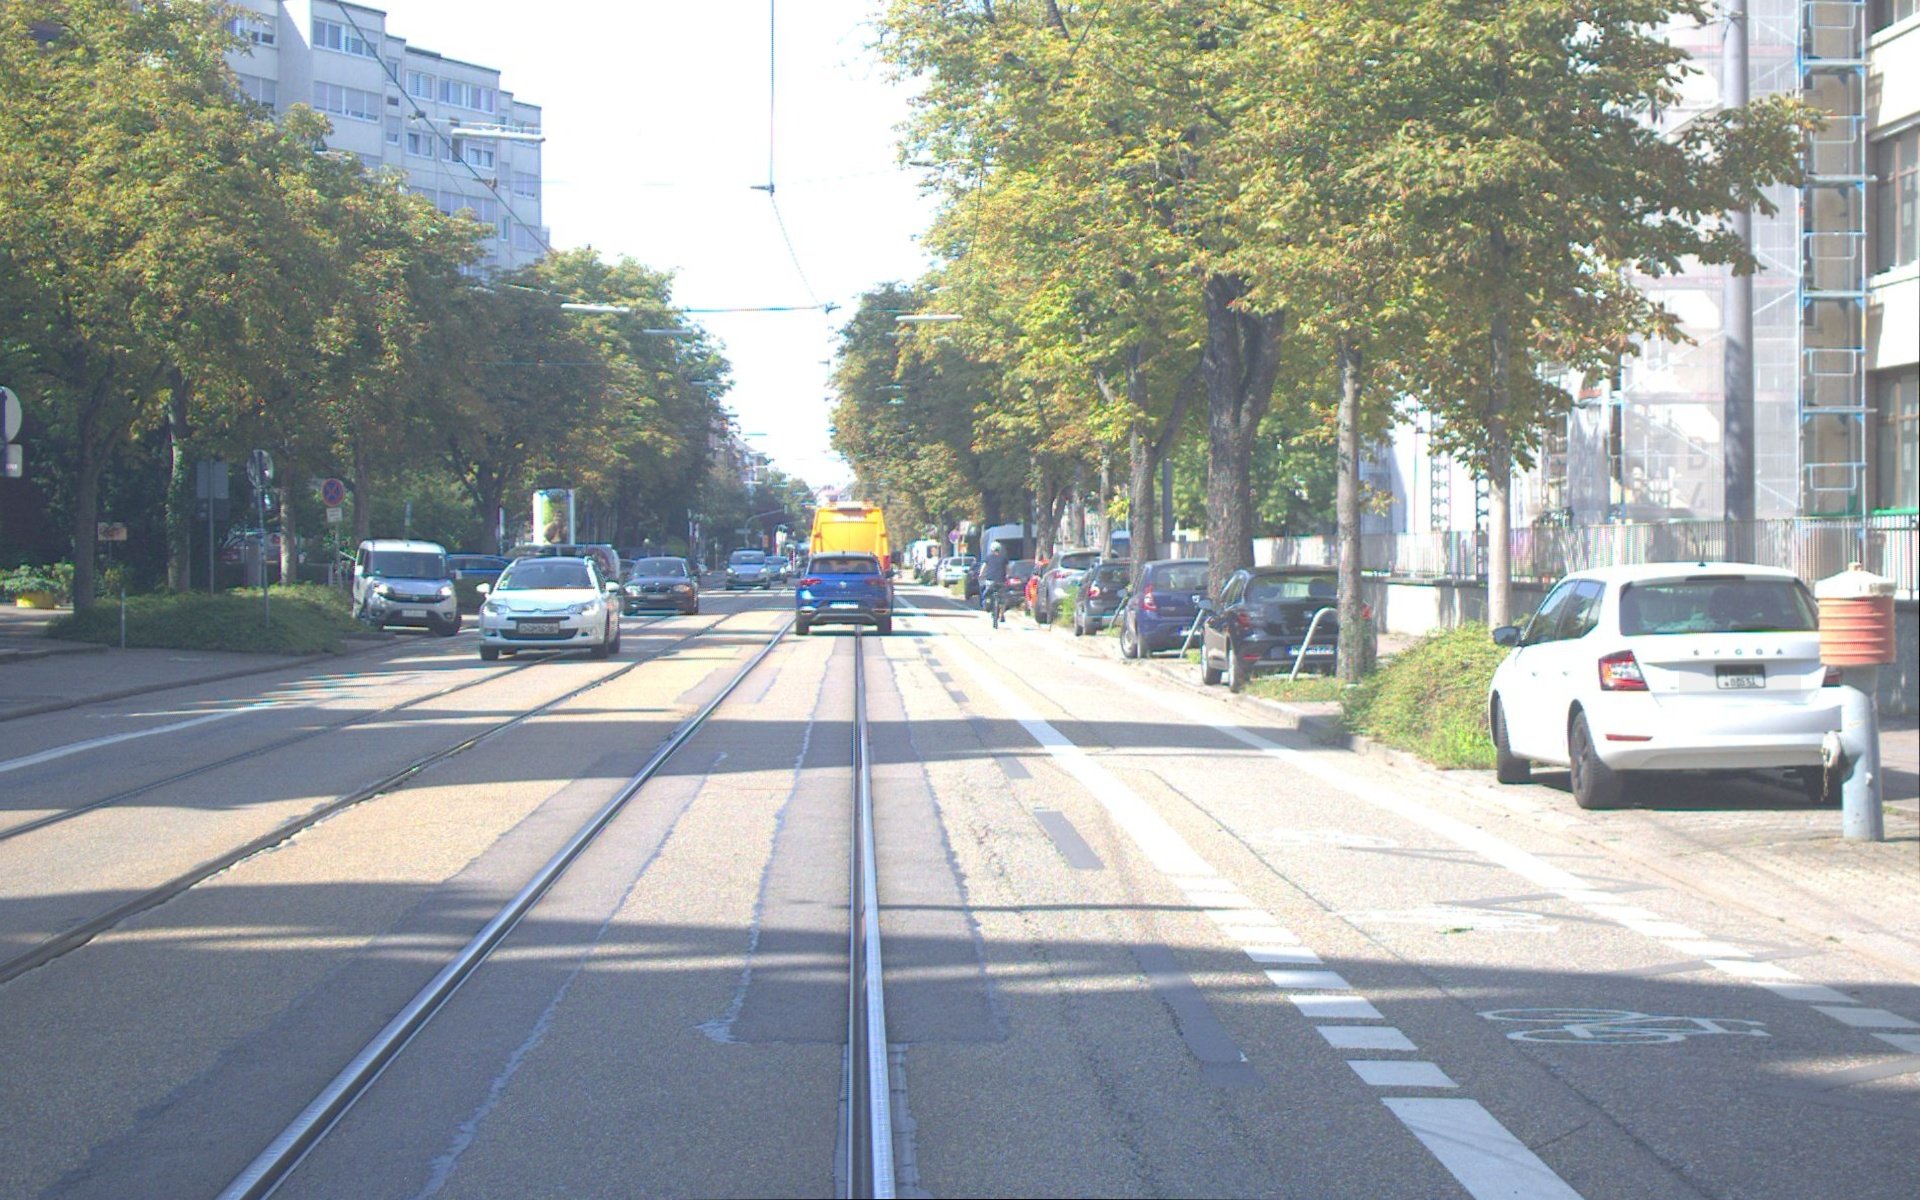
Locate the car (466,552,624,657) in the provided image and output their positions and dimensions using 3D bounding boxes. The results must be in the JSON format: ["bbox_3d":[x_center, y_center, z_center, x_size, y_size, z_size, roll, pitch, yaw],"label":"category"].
[{"bbox_3d":[-6.121,0.034,51.178,1.846,1.486,4.867,0,1,-1],"label":"car"}]

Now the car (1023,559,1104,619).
[{"bbox_3d":[2.558,-0.291,85.591,1.740,1.457,3.684,0,1,-3],"label":"car"}]

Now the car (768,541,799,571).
[{"bbox_3d":[-9.466,-2.368,184.410,1.633,1.579,4.189,0,1,-3],"label":"car"}]

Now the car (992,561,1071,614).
[{"bbox_3d":[1.955,-0.366,95.721,1.908,1.427,4.293,0,1,-3],"label":"car"}]

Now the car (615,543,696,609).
[{"bbox_3d":[-7.449,-0.596,84.389,1.681,1.566,4.206,0,1,-1],"label":"car"}]

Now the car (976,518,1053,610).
[{"bbox_3d":[1.655,-1.116,106.303,1.993,2.746,5.762,0,1,-3],"label":"car"}]

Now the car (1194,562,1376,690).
[{"bbox_3d":[3.773,0.269,40.481,1.659,1.403,4.217,-1,1,-1],"label":"car"}]

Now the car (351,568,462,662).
[{"bbox_3d":[-11.031,0.270,68.335,1.746,1.790,4.001,0,1,-15],"label":"car"}]

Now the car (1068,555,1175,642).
[{"bbox_3d":[3.025,-0.050,65.120,1.633,1.579,4.189,0,1,-3],"label":"car"}]

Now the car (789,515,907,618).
[{"bbox_3d":[-2.101,-0.642,65.297,2.135,1.852,5.568,-1,1,-1],"label":"car"}]

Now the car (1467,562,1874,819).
[{"bbox_3d":[4.445,0.505,22.108,1.659,1.476,4.217,-1,1,-1],"label":"car"}]

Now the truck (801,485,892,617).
[{"bbox_3d":[-2.755,-1.200,84.303,2.135,3.113,6.085,-1,1,-1],"label":"truck"}]

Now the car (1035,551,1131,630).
[{"bbox_3d":[2.660,-0.241,75.208,1.740,1.662,4.362,0,1,-3],"label":"car"}]

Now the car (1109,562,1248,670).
[{"bbox_3d":[3.266,0.218,52.025,1.743,1.550,4.217,-1,1,-1],"label":"car"}]

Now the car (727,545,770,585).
[{"bbox_3d":[-9.167,-1.521,149.025,1.780,1.678,4.348,1,1,-3],"label":"car"}]

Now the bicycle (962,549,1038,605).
[{"bbox_3d":[0.804,-0.484,70.661,1.401,1.130,4.000,0,1,-2],"label":"bicycle"}]

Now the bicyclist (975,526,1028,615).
[{"bbox_3d":[0.842,-0.603,70.650,1.031,1.806,1.016,0,1,-2],"label":"bicyclist"}]
